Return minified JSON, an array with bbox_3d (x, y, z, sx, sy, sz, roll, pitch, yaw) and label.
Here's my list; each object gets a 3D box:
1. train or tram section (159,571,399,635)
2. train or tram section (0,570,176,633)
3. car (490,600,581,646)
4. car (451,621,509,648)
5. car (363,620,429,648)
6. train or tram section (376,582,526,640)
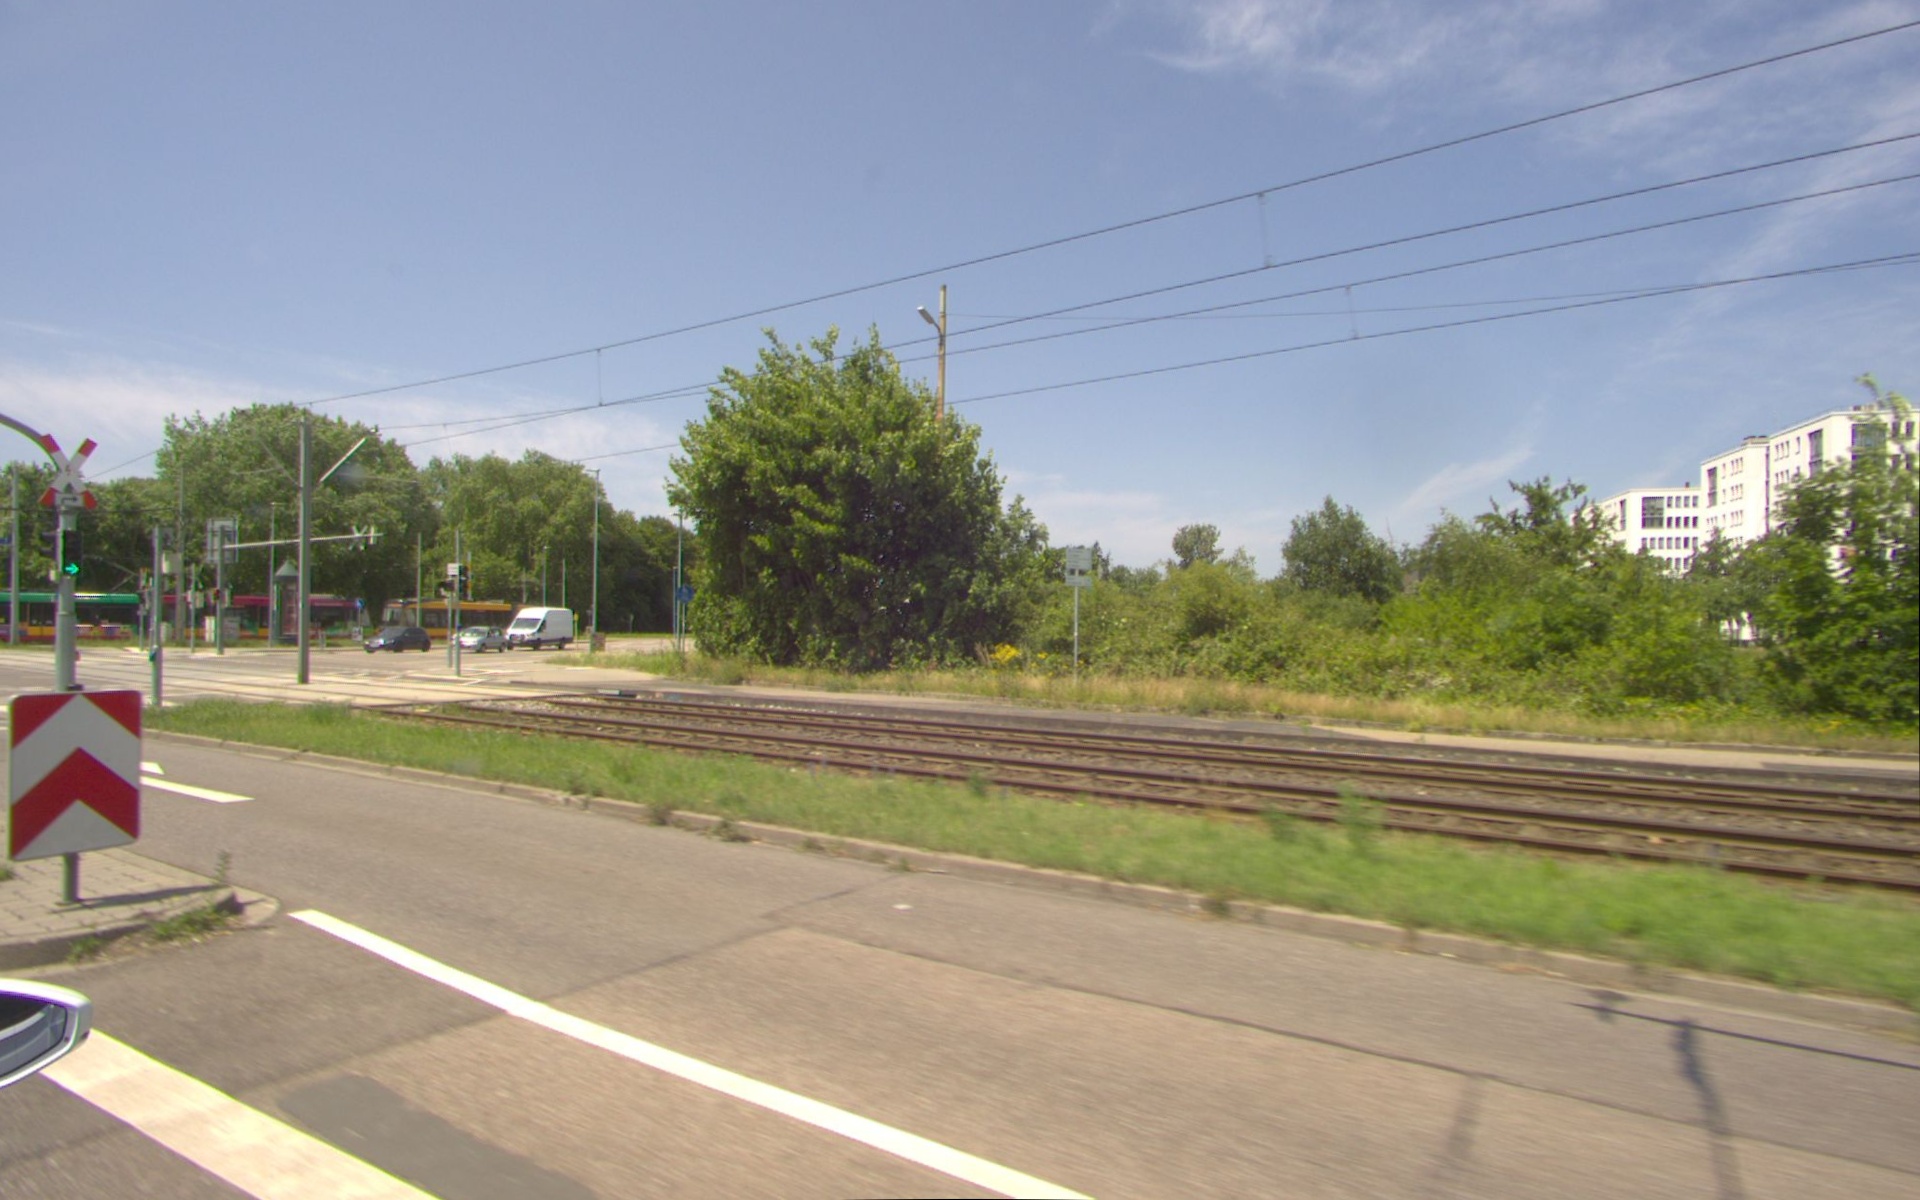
[{"bbox_3d":[-48.276,0.410,71.627,13.899,3.966,2.899,2,-5,-42],"label":"train or tram section"},{"bbox_3d":[-59.476,0.166,64.994,13.220,3.857,2.921,0,-3,-18],"label":"train or tram section"},{"bbox_3d":[-27.955,1.542,66.307,2.664,2.838,7.286,1,-1,2],"label":"car"},{"bbox_3d":[-28.007,2.004,58.499,1.608,1.482,3.807,1,-1,-1],"label":"car"},{"bbox_3d":[-31.427,1.869,55.857,1.608,1.482,3.509,1,-1,2],"label":"car"},{"bbox_3d":[-41.904,1.104,83.393,2.869,3.966,13.968,-2,-4,12],"label":"train or tram section"}]
